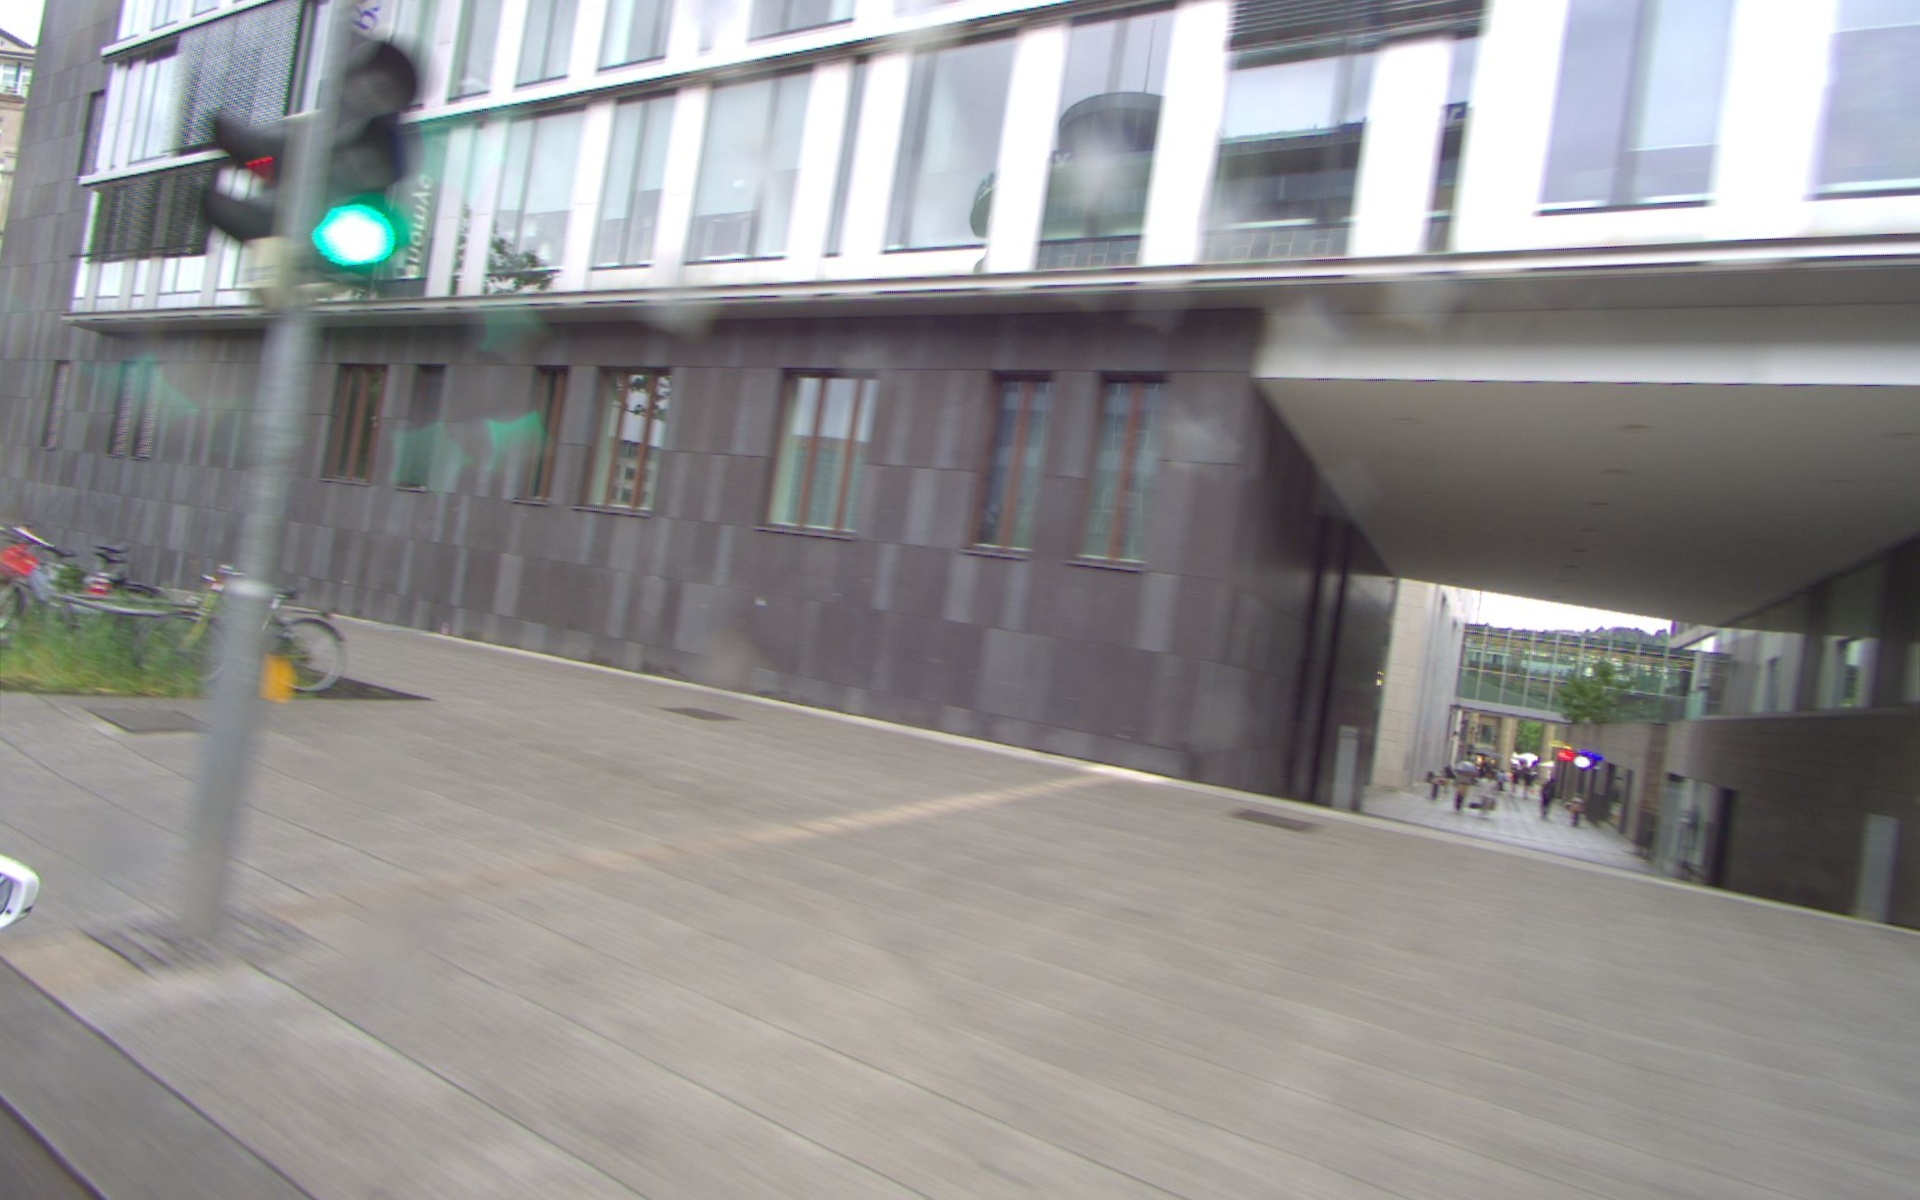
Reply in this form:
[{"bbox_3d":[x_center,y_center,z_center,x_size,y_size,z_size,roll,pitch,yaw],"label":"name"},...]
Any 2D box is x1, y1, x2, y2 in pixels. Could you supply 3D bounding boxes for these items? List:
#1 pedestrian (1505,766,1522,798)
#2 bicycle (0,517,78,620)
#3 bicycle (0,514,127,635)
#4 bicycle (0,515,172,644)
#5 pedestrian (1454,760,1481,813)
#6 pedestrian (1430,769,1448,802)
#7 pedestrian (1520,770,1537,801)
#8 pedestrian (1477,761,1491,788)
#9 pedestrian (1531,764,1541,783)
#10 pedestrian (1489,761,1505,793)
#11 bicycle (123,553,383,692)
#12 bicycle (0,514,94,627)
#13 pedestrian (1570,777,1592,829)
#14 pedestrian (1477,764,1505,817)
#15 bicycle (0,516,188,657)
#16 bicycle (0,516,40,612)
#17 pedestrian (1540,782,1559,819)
[{"bbox_3d":[34.619,11.379,62.949,0.689,1.843,0.593,7,-3,26],"label":"pedestrian"},{"bbox_3d":[-11.659,-0.437,11.820,0.677,1.153,1.735,7,-2,24],"label":"bicycle"},{"bbox_3d":[-10.209,-0.304,10.797,0.677,1.197,1.735,7,-2,24],"label":"bicycle"},{"bbox_3d":[-9.454,-0.212,10.485,0.677,1.197,1.735,7,-2,24],"label":"bicycle"},{"bbox_3d":[18.483,6.794,36.638,0.689,1.795,0.593,7,-3,26],"label":"pedestrian"},{"bbox_3d":[19.773,7.650,41.524,0.556,1.256,0.463,7,-3,26],"label":"pedestrian"},{"bbox_3d":[35.423,11.539,62.657,0.689,1.795,0.593,7,-3,26],"label":"pedestrian"},{"bbox_3d":[37.712,12.555,72.391,0.689,1.795,0.593,7,-3,26],"label":"pedestrian"},{"bbox_3d":[56.023,16.897,97.845,0.638,1.678,0.651,7,-3,23],"label":"pedestrian"},{"bbox_3d":[33.893,11.165,63.470,0.689,1.843,0.593,7,-3,26],"label":"pedestrian"},{"bbox_3d":[-6.343,0.251,9.144,0.677,1.082,1.735,7,-2,24],"label":"bicycle"},{"bbox_3d":[-10.995,-0.388,11.267,0.677,1.197,1.735,7,-2,24],"label":"bicycle"},{"bbox_3d":[24.481,7.989,39.670,0.557,1.935,0.661,6,-4,33],"label":"pedestrian"},{"bbox_3d":[19.202,6.875,36.368,0.689,1.795,0.593,7,-3,26],"label":"pedestrian"},{"bbox_3d":[-8.612,-0.124,9.621,0.677,1.197,1.735,7,-2,24],"label":"bicycle"},{"bbox_3d":[-12.398,-0.534,12.115,0.677,1.153,1.735,7,-2,24],"label":"bicycle"},{"bbox_3d":[24.575,8.364,41.925,0.557,1.432,0.462,6,-4,33],"label":"pedestrian"}]
